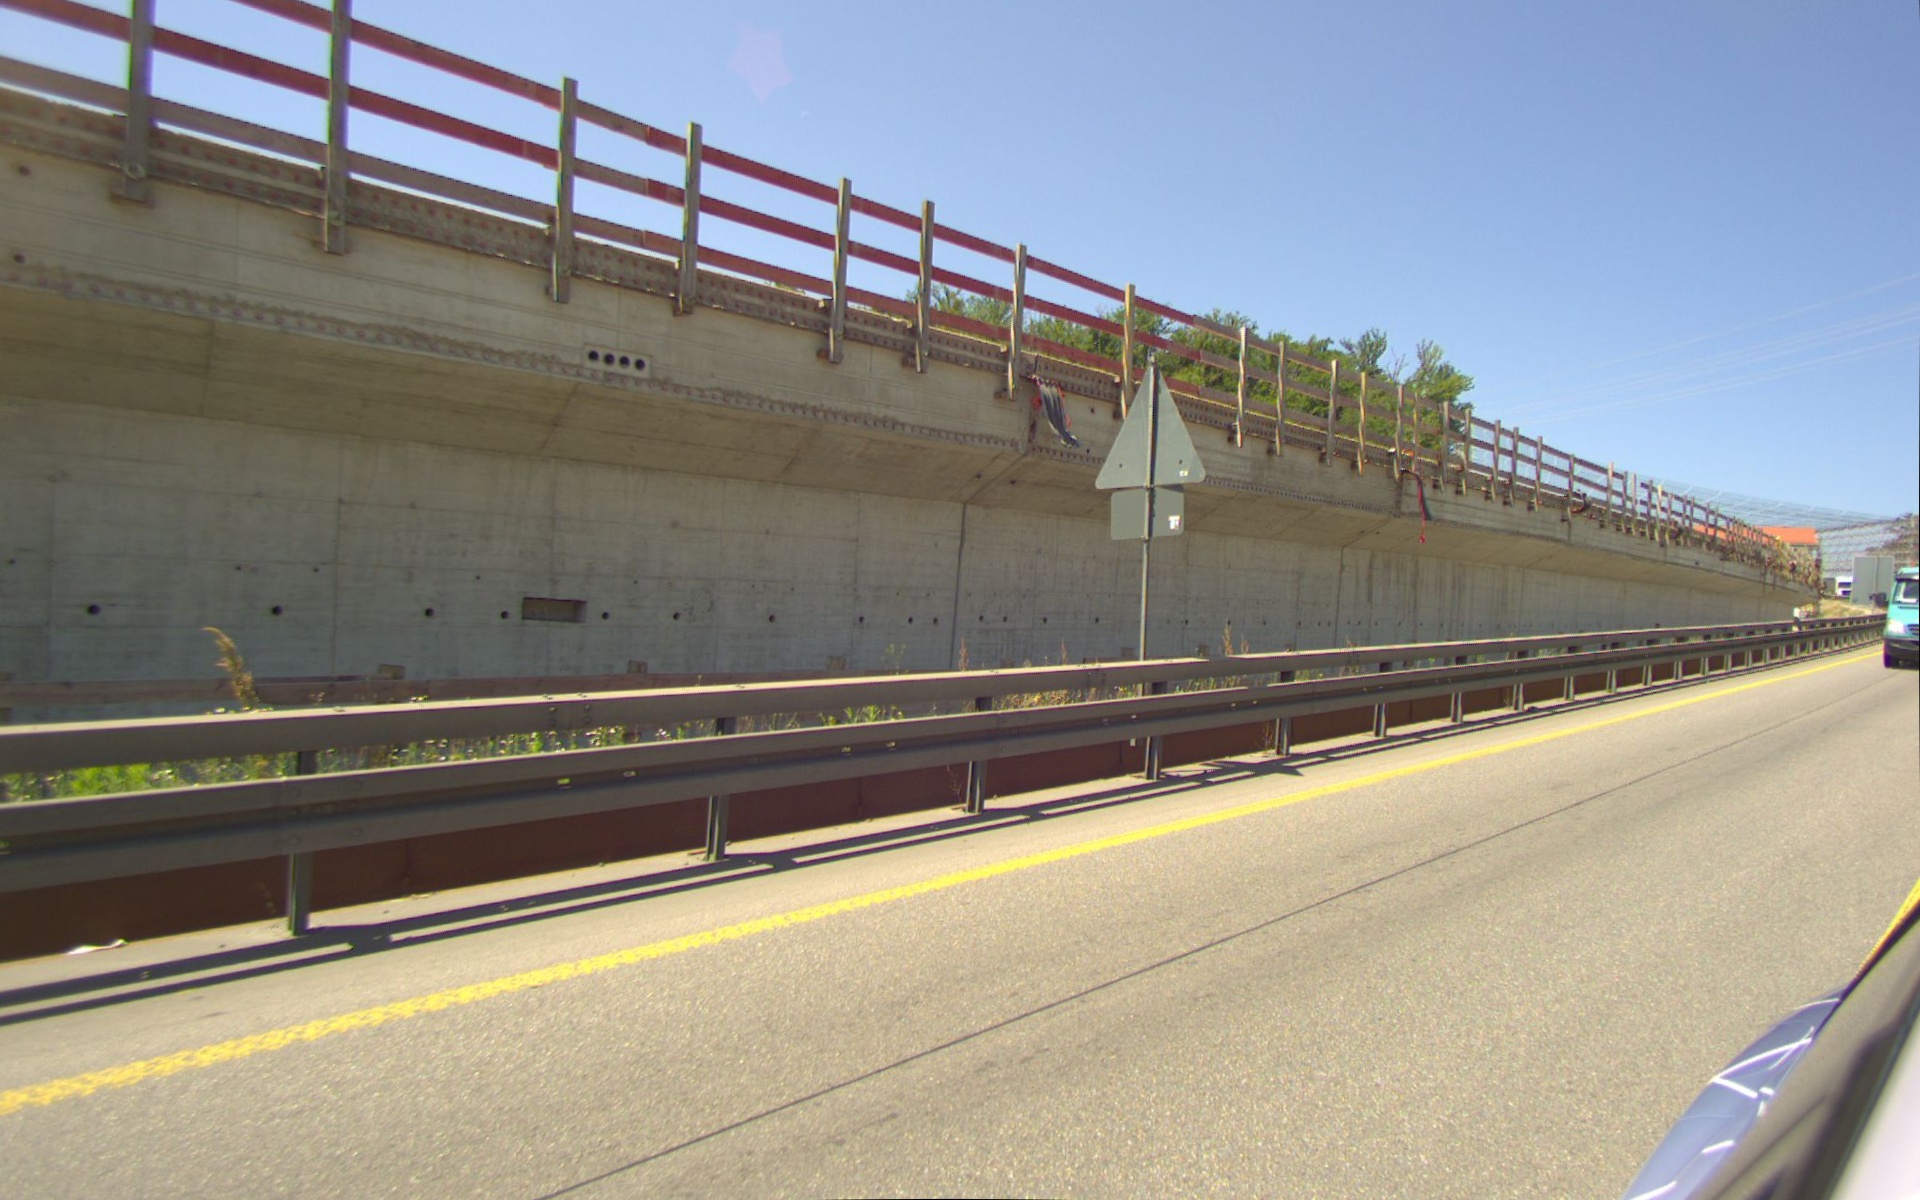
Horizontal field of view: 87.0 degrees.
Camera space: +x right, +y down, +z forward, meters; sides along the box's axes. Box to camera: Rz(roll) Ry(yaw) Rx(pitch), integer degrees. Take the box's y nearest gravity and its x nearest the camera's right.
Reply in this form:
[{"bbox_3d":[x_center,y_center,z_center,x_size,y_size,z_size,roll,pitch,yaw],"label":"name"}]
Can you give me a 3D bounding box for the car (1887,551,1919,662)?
[{"bbox_3d":[23.136,0.115,23.375,6.790,2.355,2.213,-1,2,-45],"label":"car"}]
